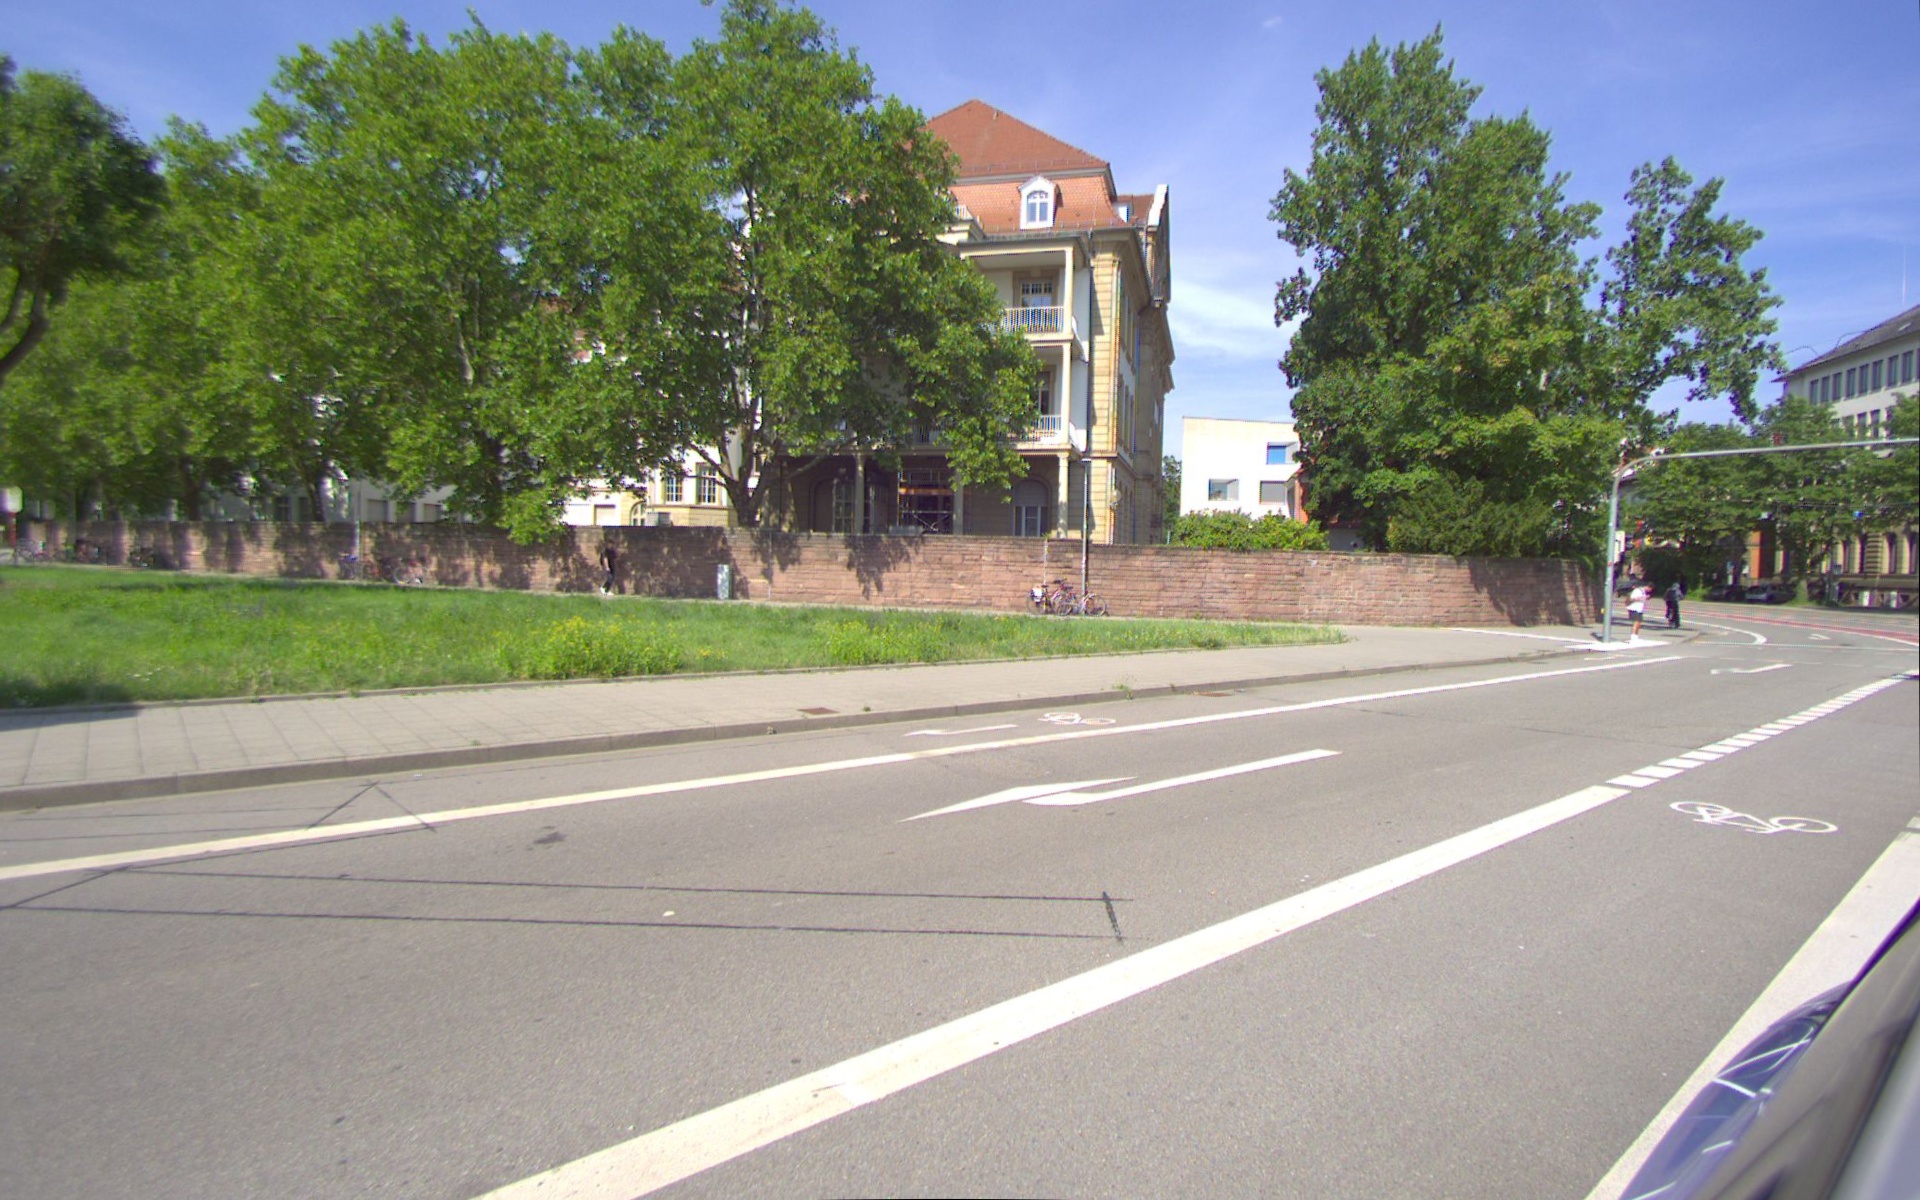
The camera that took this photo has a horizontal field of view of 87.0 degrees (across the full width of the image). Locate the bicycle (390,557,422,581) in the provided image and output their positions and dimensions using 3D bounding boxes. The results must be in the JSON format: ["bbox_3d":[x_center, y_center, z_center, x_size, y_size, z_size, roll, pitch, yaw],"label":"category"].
[{"bbox_3d":[-20.884,-1.157,38.131,1.294,0.866,0.369,3,2,25],"label":"bicycle"}]

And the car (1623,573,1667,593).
[{"bbox_3d":[58.531,-1.453,86.510,1.645,1.468,3.808,3,3,10],"label":"car"}]

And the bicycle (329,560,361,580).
[{"bbox_3d":[-23.861,-1.177,39.252,1.350,0.737,0.338,3,2,23],"label":"bicycle"}]

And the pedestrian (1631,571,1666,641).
[{"bbox_3d":[19.375,0.157,28.490,0.649,1.897,0.788,4,3,31],"label":"pedestrian"}]

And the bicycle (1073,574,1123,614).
[{"bbox_3d":[4.135,-0.181,30.331,1.406,1.136,0.350,1,2,-6],"label":"bicycle"}]

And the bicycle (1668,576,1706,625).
[{"bbox_3d":[27.175,0.003,37.806,1.779,1.787,0.679,0,3,-41],"label":"bicycle"}]

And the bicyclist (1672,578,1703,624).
[{"bbox_3d":[27.151,0.019,37.789,0.903,1.675,0.679,0,3,-41],"label":"bicyclist"}]

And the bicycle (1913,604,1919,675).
[{"bbox_3d":[17.770,0.696,18.136,2.147,1.237,0.686,0,3,-39],"label":"bicycle"}]

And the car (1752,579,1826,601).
[{"bbox_3d":[65.258,-0.815,79.756,3.941,1.482,1.992,2,2,14],"label":"car"}]

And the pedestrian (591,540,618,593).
[{"bbox_3d":[-12.033,-1.148,34.232,0.592,1.761,0.616,2,2,20],"label":"pedestrian"}]

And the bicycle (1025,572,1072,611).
[{"bbox_3d":[2.642,-0.251,30.245,1.406,1.136,0.350,1,2,-27],"label":"bicycle"}]

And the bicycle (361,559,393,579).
[{"bbox_3d":[-22.337,-1.181,38.772,1.350,0.737,0.338,3,2,23],"label":"bicycle"}]

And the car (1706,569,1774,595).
[{"bbox_3d":[65.623,-1.515,85.191,3.941,2.038,1.992,2,2,14],"label":"car"}]
